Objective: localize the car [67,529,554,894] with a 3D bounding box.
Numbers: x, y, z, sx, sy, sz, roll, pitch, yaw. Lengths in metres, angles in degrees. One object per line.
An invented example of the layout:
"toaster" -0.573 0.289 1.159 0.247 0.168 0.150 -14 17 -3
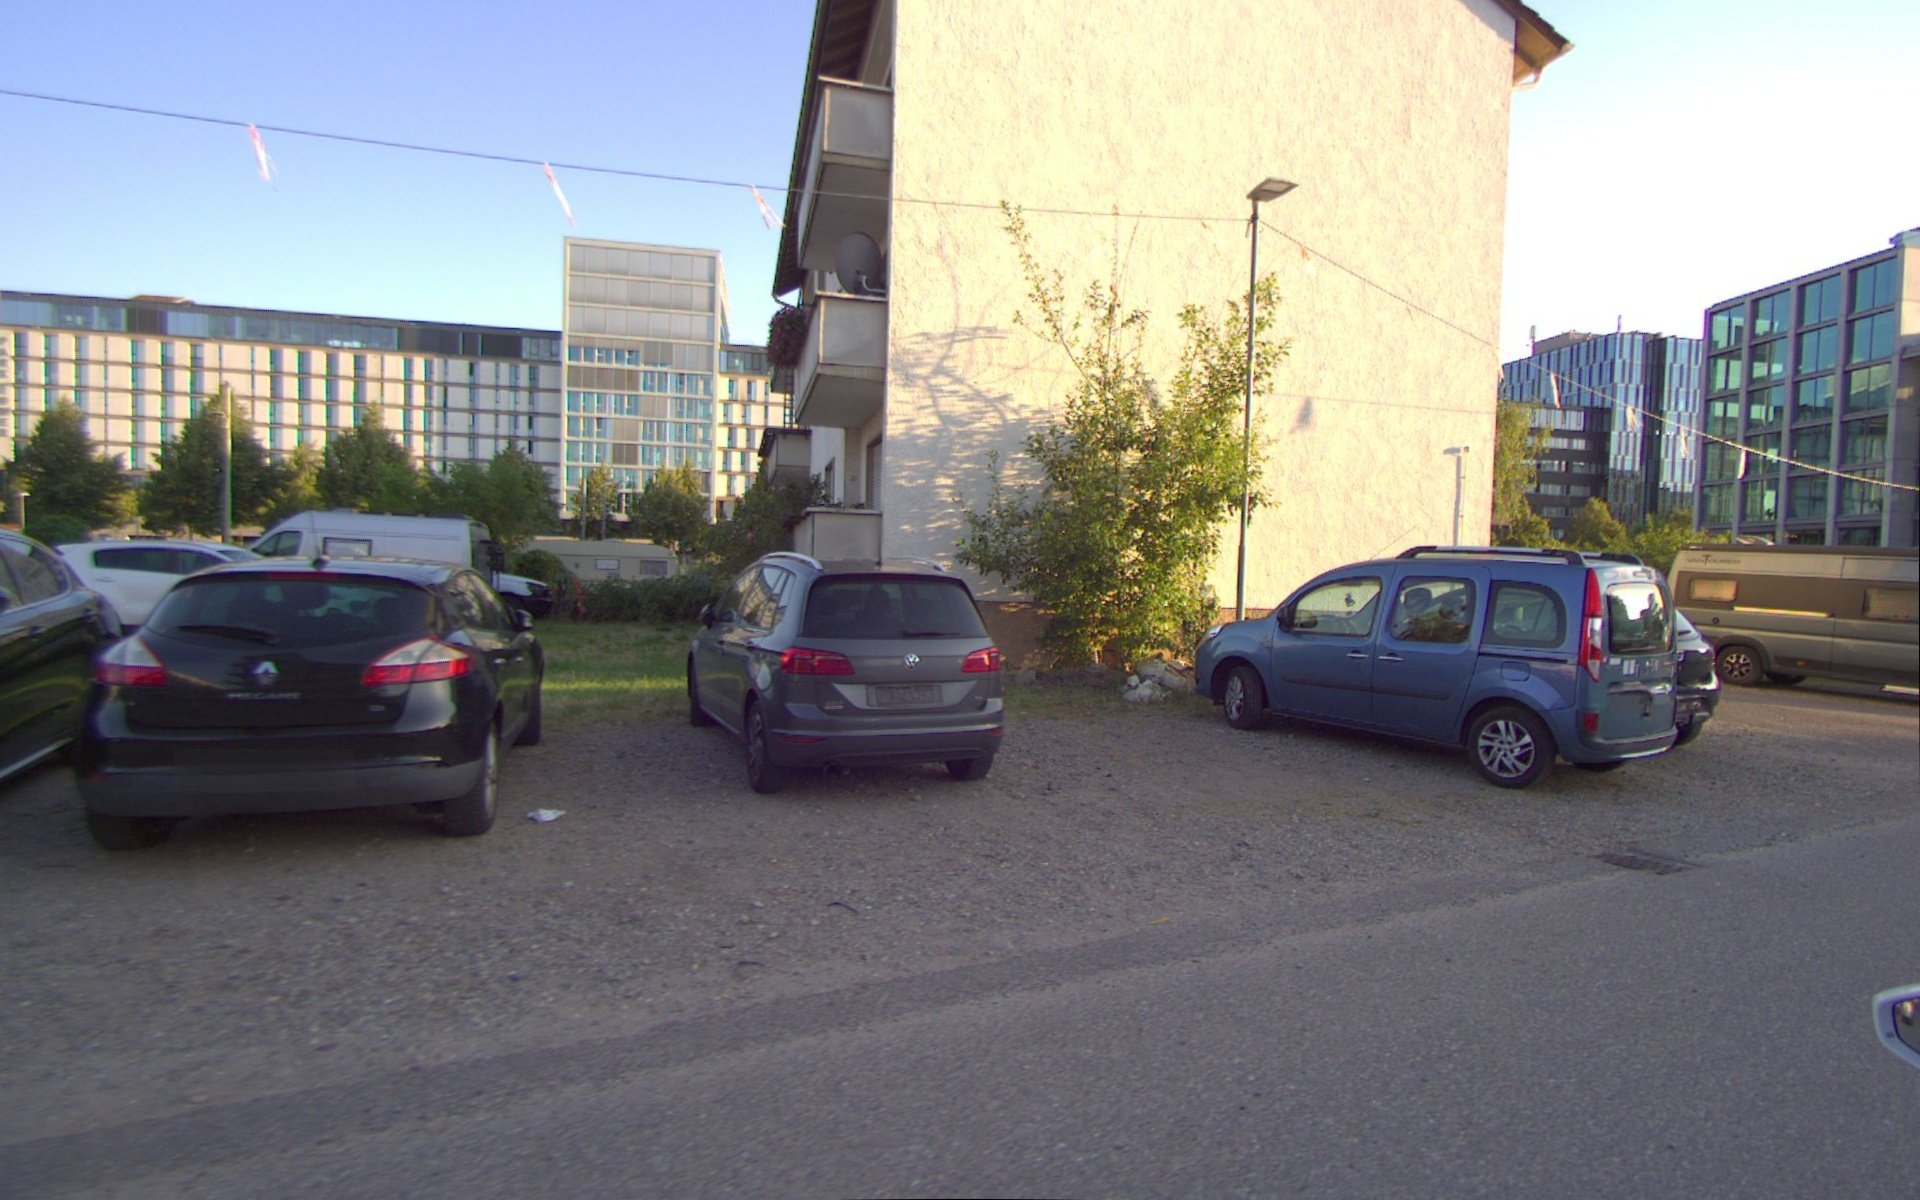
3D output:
"car" -3.584 0.446 6.339 1.618 1.537 3.921 2 1 -19

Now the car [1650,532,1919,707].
"car" 15.801 0.315 17.016 2.088 2.749 6.357 2 3 -30

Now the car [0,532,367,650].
"car" -12.209 -0.127 16.112 4.242 1.653 1.844 2 1 -13

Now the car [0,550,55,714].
"car" -10.939 0.246 8.771 4.084 1.543 1.842 2 1 -17

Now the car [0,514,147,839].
"car" -5.813 0.370 5.012 1.796 1.650 4.076 1 1 -25

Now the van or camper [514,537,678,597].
"van or camper" -13.367 -1.194 37.221 5.500 2.021 1.842 1 0 -13

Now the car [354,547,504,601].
"car" -15.564 -0.765 29.592 3.593 1.427 1.483 2 1 -13

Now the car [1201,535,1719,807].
"car" 4.365 0.418 9.356 1.731 1.937 3.898 0 4 -35

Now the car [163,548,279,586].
"car" -33.621 -1.478 45.793 3.872 1.560 1.659 2 1 -14

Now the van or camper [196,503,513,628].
"van or camper" -13.040 -0.702 22.020 5.586 2.425 1.844 2 1 -13

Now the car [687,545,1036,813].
"car" -1.049 0.422 8.129 1.621 1.601 3.913 0 2 -25

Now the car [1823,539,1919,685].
"car" 19.713 0.342 18.167 2.022 2.750 5.807 1 3 -24

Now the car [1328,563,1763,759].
"car" 6.169 0.502 11.163 1.722 1.674 3.919 1 3 -20

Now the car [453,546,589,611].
"car" -15.035 -0.723 34.602 3.930 2.041 1.995 1 1 -12

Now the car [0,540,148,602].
"car" -29.788 -0.951 32.844 4.753 1.867 1.680 2 1 -12

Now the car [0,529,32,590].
"car" -26.633 -1.105 25.716 3.872 1.560 1.659 2 1 -14
